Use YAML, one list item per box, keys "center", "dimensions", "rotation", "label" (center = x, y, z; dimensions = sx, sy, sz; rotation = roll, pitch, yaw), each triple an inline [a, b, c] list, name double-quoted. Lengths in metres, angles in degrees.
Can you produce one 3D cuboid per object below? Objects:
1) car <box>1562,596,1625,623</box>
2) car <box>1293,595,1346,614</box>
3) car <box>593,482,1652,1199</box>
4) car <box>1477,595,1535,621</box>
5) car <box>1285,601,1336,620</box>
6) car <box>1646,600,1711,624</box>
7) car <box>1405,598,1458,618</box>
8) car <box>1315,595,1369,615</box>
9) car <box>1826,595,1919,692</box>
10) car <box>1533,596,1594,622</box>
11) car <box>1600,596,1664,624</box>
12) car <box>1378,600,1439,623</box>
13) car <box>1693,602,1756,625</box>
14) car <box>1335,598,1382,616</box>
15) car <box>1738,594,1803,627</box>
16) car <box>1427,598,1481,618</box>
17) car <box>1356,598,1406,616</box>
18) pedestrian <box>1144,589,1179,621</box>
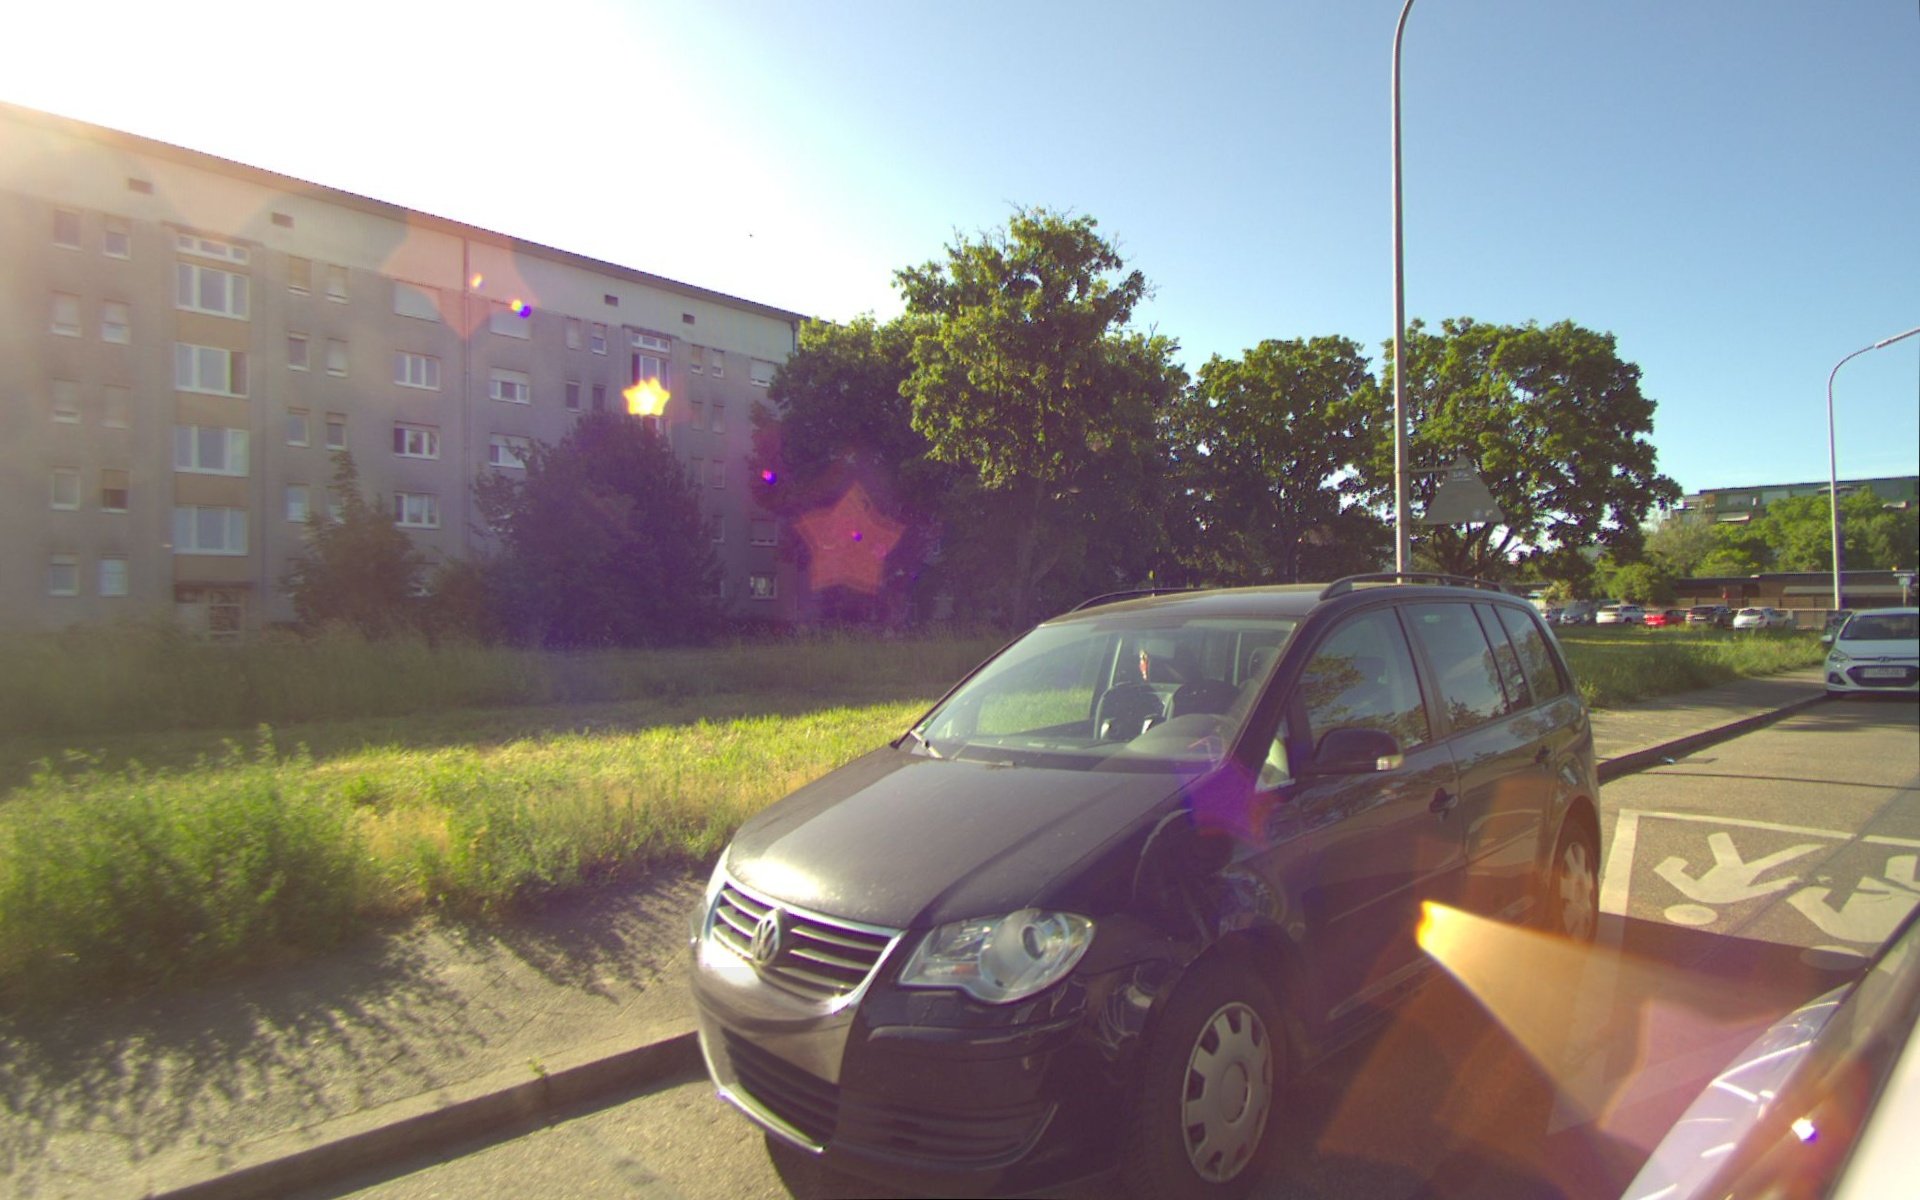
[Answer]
- center: [43.998, 0.631, 70.308]
  dimensions: [3.918, 1.796, 1.960]
  rotation: [0, 0, -27]
  label: "car"
- center: [34.026, 0.431, 95.845]
  dimensions: [4.605, 1.767, 1.961]
  rotation: [0, 0, -23]
  label: "car"
- center: [1.065, 0.641, 4.022]
  dimensions: [4.393, 1.673, 1.840]
  rotation: [0, -2, -43]
  label: "car"
- center: [41.795, 0.586, 77.440]
  dimensions: [3.919, 1.795, 1.960]
  rotation: [-2, 1, -27]
  label: "car"
- center: [28.288, 0.832, 81.798]
  dimensions: [1.958, 1.469, 3.646]
  rotation: [0, 0, -23]
  label: "car"
- center: [47.020, 0.774, 66.191]
  dimensions: [3.918, 1.488, 1.868]
  rotation: [0, 0, -27]
  label: "car"
- center: [38.914, 0.620, 83.537]
  dimensions: [3.918, 1.581, 1.960]
  rotation: [0, 0, -27]
  label: "car"
- center: [35.194, 0.450, 93.208]
  dimensions: [4.605, 1.767, 1.961]
  rotation: [0, 0, -23]
  label: "car"
- center: [16.111, 0.680, 17.100]
  dimensions: [3.848, 1.499, 1.654]
  rotation: [0, -2, -41]
  label: "car"
- center: [43.493, 0.633, 72.952]
  dimensions: [3.918, 1.796, 1.960]
  rotation: [0, 0, -27]
  label: "car"
- center: [45.164, 0.645, 68.013]
  dimensions: [3.918, 1.796, 1.864]
  rotation: [0, 0, -27]
  label: "car"
- center: [32.043, 0.810, 72.366]
  dimensions: [1.958, 1.543, 3.646]
  rotation: [0, 0, -23]
  label: "car"
- center: [47.912, 0.830, 63.423]
  dimensions: [3.920, 1.341, 1.783]
  rotation: [0, 0, -30]
  label: "car"
- center: [35.747, 0.575, 90.811]
  dimensions: [3.918, 1.581, 1.803]
  rotation: [0, 0, -27]
  label: "car"
- center: [49.165, 0.611, 61.389]
  dimensions: [3.922, 1.883, 1.958]
  rotation: [0, 0, -33]
  label: "car"
- center: [39.807, 0.642, 81.544]
  dimensions: [3.918, 1.581, 1.960]
  rotation: [0, 0, -27]
  label: "car"
- center: [36.855, 0.582, 88.509]
  dimensions: [3.918, 1.581, 1.960]
  rotation: [0, 0, -27]
  label: "car"
- center: [13.079, 0.323, 65.669]
  dimensions: [1.667, 2.057, 1.490]
  rotation: [0, 0, -38]
  label: "pedestrian"
